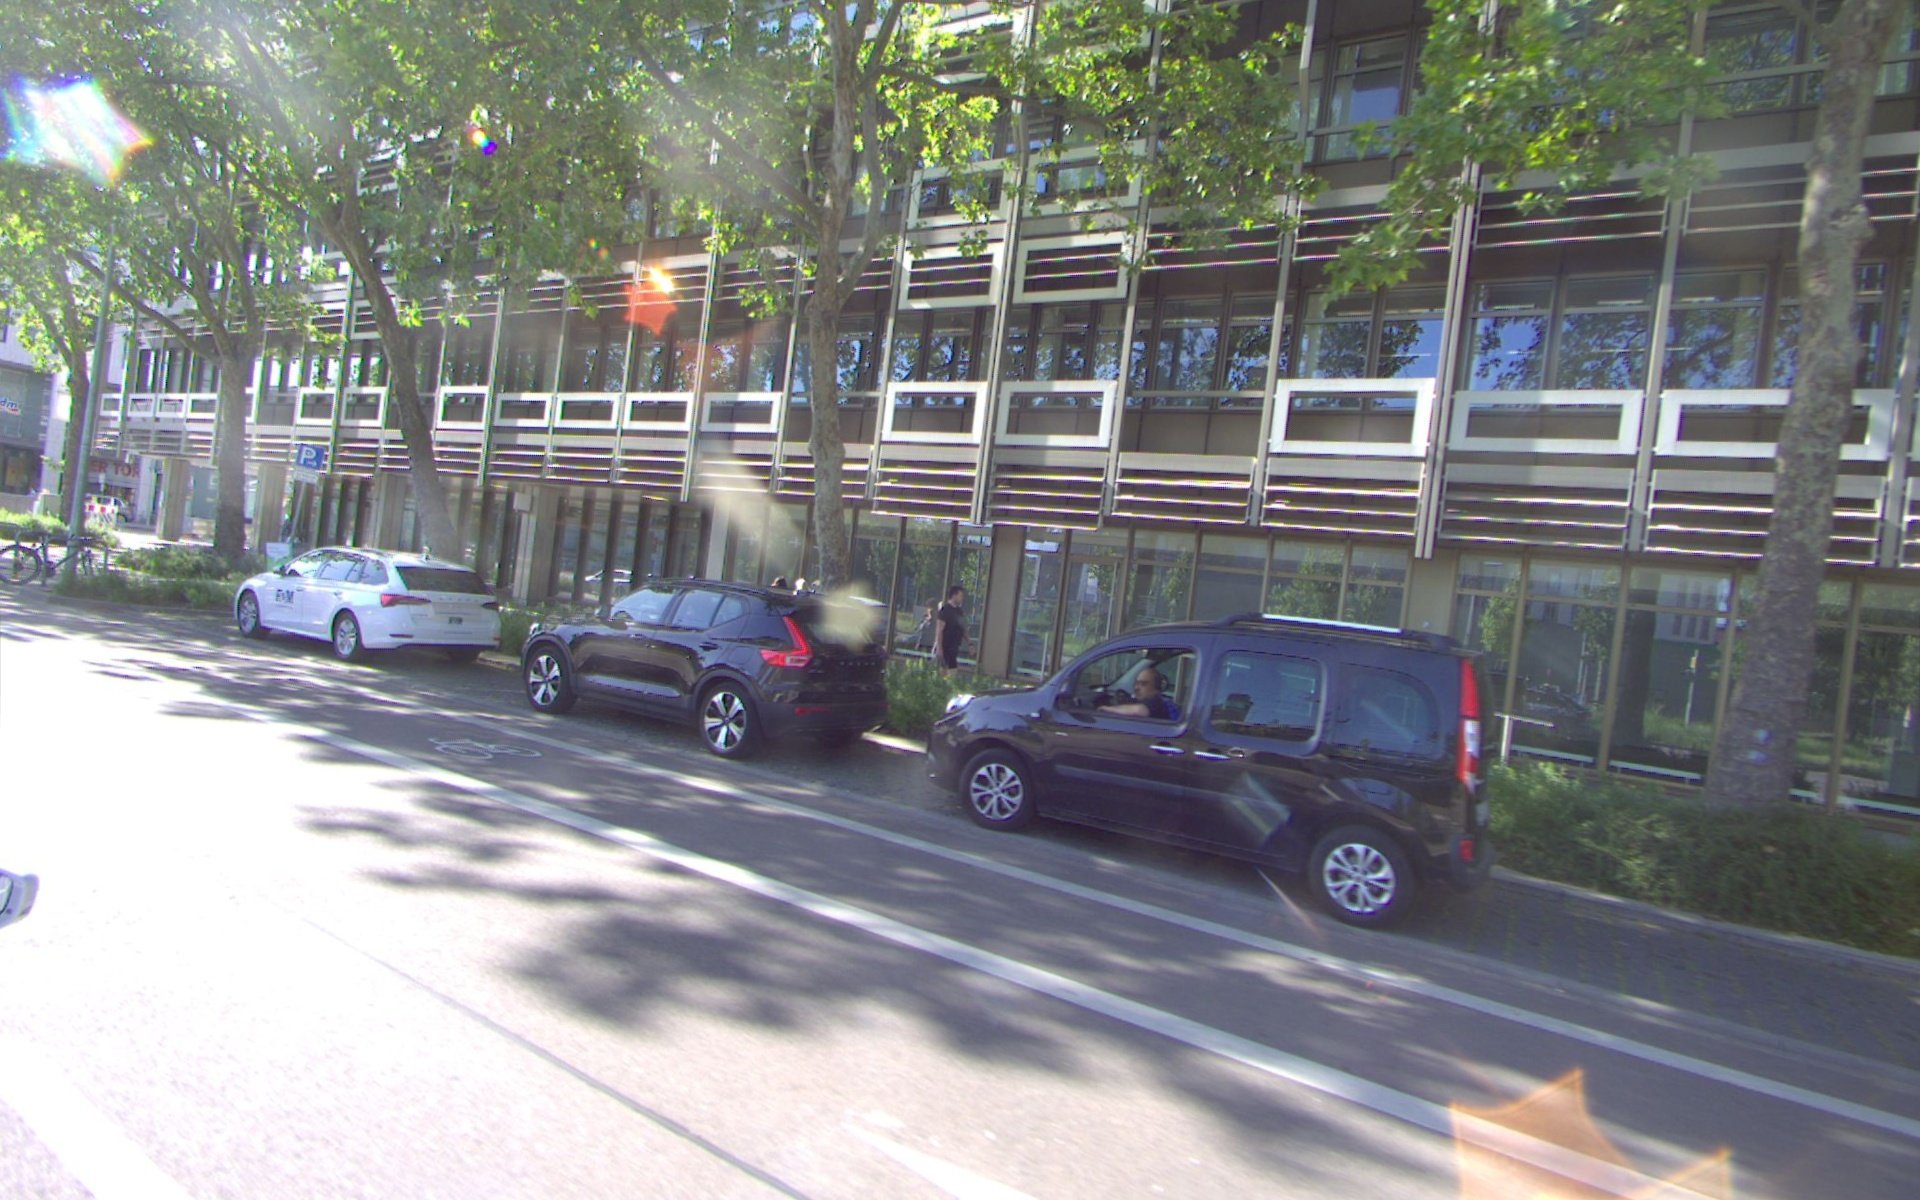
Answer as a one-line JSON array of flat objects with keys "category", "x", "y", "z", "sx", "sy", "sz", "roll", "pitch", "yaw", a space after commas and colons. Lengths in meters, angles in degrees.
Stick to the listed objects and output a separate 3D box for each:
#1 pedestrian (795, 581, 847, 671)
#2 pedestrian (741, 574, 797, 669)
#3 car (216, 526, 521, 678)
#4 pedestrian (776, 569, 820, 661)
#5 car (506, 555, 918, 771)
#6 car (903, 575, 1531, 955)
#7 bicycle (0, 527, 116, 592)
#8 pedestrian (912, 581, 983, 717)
[{"category": "pedestrian", "x": -2.619, "y": 0.495, "z": 19.002, "sx": 0.563, "sy": 1.622, "sz": 0.554, "roll": 8, "pitch": 0, "yaw": 32}, {"category": "pedestrian", "x": -3.390, "y": 0.391, "z": 17.866, "sx": 0.623, "sy": 1.603, "sz": 0.507, "roll": 8, "pitch": 0, "yaw": 23}, {"category": "car", "x": -8.421, "y": -0.008, "z": 14.204, "sx": 4.524, "sy": 1.510, "sz": 1.707, "roll": 7, "pitch": -1, "yaw": 32}, {"category": "pedestrian", "x": -2.948, "y": 0.282, "z": 18.300, "sx": 0.492, "sy": 1.603, "sz": 0.316, "roll": 8, "pitch": 0, "yaw": 23}, {"category": "car", "x": -2.704, "y": 0.578, "z": 10.664, "sx": 4.123, "sy": 1.582, "sz": 1.706, "roll": 7, "pitch": -1, "yaw": 32}, {"category": "car", "x": 1.818, "y": 0.973, "z": 7.613, "sx": 4.122, "sy": 1.813, "sz": 1.705, "roll": 7, "pitch": 2, "yaw": 32}, {"category": "bicycle", "x": -15.906, "y": -0.701, "z": 17.567, "sx": 0.470, "sy": 0.969, "sz": 1.696, "roll": 8, "pitch": 1, "yaw": 27}, {"category": "pedestrian", "x": -0.178, "y": 0.743, "z": 15.119, "sx": 0.548, "sy": 1.938, "sz": 0.678, "roll": 6, "pitch": -2, "yaw": 32}]
